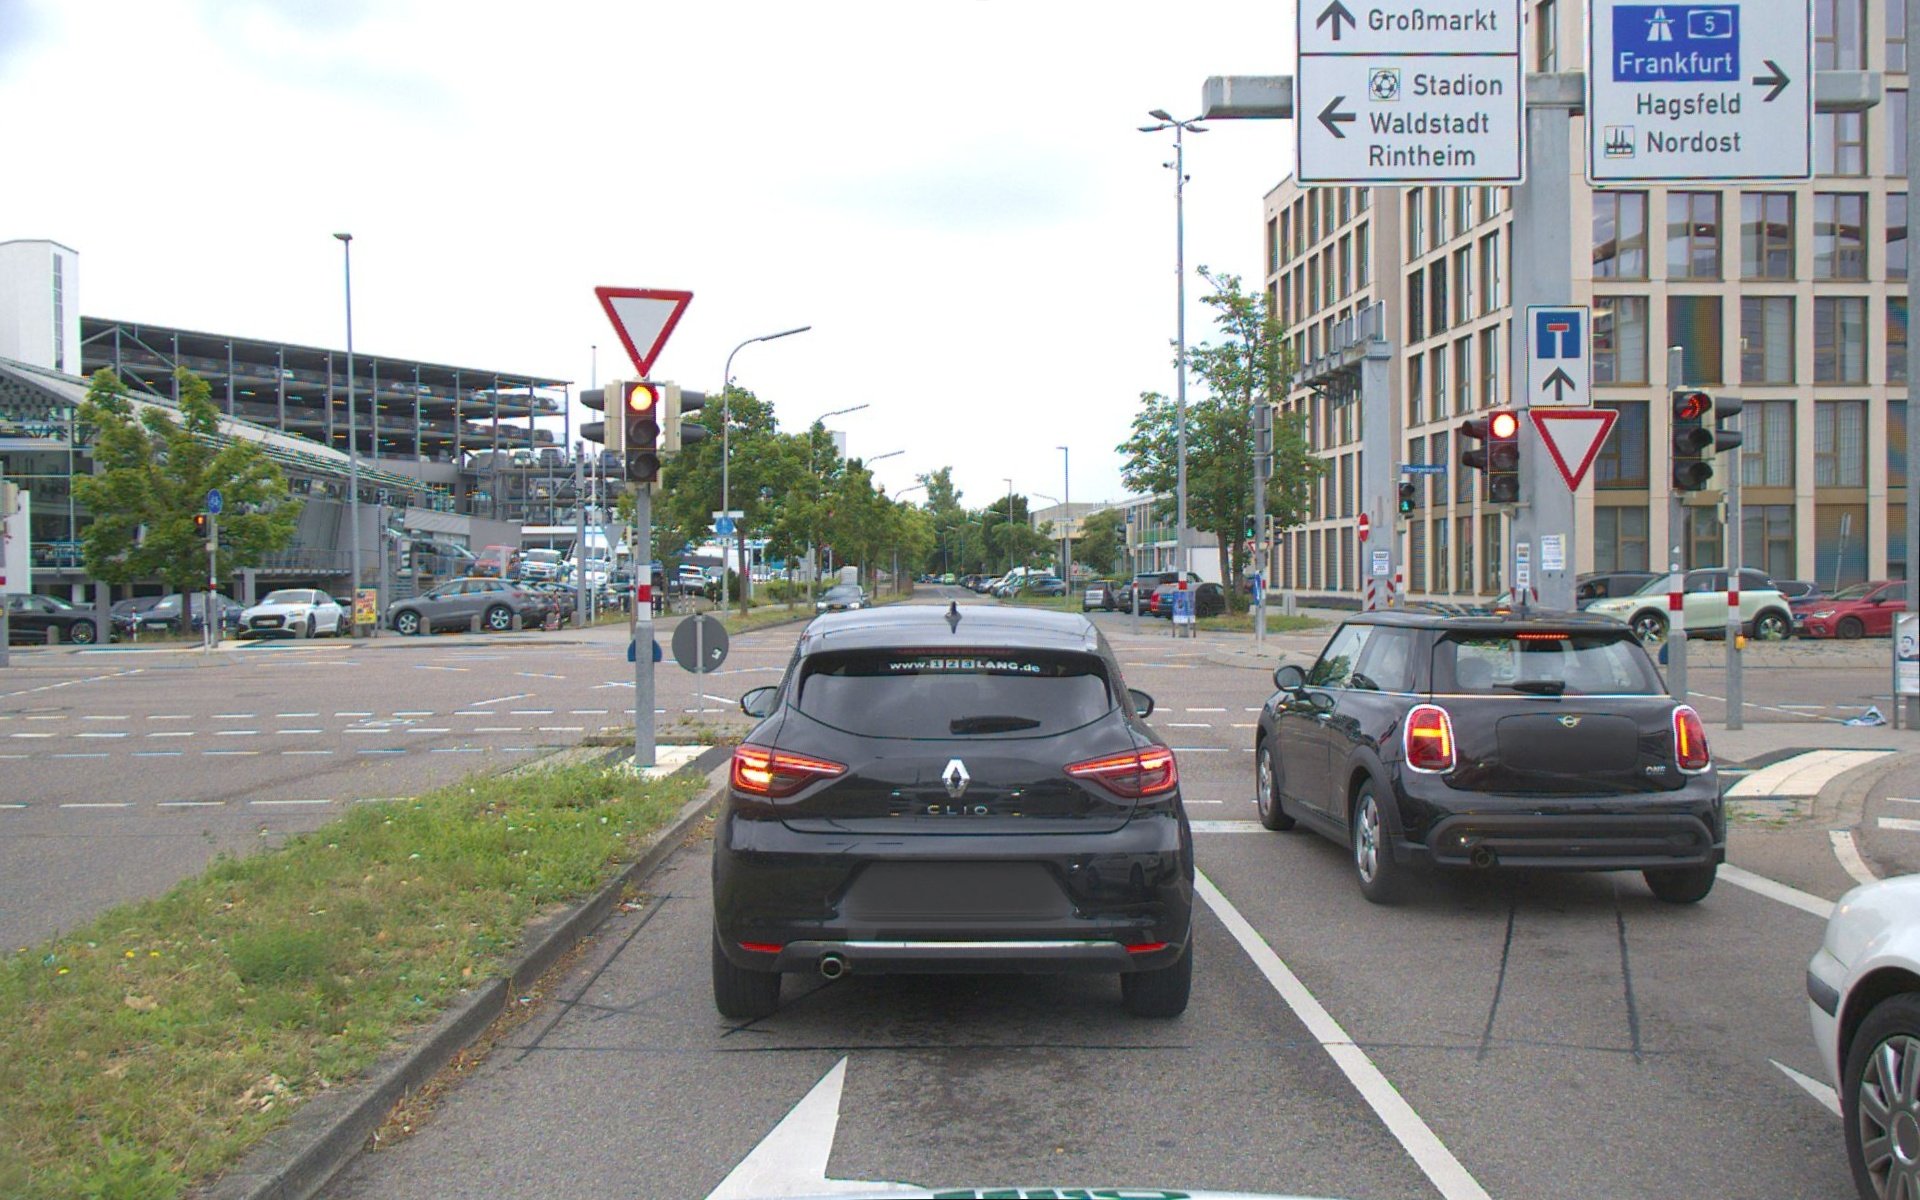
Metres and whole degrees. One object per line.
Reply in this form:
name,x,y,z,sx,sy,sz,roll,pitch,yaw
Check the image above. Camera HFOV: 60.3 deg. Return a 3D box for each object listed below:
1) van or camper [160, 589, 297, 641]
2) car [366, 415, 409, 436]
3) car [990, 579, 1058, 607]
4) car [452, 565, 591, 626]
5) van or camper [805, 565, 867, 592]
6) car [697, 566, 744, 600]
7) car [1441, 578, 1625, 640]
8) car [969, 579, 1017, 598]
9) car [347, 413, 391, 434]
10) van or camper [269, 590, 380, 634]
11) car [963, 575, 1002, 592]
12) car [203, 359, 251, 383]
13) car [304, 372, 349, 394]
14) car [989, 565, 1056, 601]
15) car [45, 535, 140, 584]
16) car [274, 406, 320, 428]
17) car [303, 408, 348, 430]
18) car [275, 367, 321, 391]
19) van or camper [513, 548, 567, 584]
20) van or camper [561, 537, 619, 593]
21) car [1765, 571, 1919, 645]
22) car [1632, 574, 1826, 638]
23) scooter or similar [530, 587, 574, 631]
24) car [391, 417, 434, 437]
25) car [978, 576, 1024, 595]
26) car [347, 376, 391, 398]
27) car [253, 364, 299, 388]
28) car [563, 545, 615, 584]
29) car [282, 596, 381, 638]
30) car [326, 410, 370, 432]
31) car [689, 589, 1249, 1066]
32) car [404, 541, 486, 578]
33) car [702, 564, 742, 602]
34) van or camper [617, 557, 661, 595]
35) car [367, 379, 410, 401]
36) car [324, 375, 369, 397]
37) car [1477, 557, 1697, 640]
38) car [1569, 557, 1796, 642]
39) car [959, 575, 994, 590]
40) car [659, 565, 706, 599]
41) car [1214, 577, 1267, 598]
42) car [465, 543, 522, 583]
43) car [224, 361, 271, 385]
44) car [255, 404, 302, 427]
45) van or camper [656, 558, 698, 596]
van or camper,-25.598,0.516,58.001,3.909,1.707,1.998,1,0,-5
car,-55.969,-17.088,161.752,3.914,1.696,1.996,1,1,31
car,4.992,-0.528,129.038,5.070,2.049,2.142,1,0,-3
car,-16.221,-0.174,61.406,4.683,2.049,1.997,-2,0,-7
van or camper,-11.356,-1.954,151.769,5.486,2.413,1.999,1,0,-2
car,-12.158,-0.853,84.292,1.954,1.646,3.998,1,0,-3
car,14.326,0.232,41.463,4.005,1.457,1.749,1,0,-5
car,3.622,-1.253,182.217,5.069,2.049,2.143,1,0,-2
car,-57.104,-17.088,159.882,3.914,1.696,1.996,1,1,31
van or camper,-26.408,0.480,68.838,3.909,1.741,1.845,1,0,-5
car,3.019,-2.194,218.837,5.069,2.049,2.143,1,0,-2
car,-64.958,-20.267,146.592,3.914,1.696,1.996,1,1,31
car,-59.607,-20.417,155.627,3.914,1.696,1.996,1,1,31
car,5.720,-1.521,151.662,5.993,3.171,2.133,1,0,-2
car,-32.743,-1.493,62.538,1.784,1.691,3.995,1,0,-5
car,-61.439,-16.948,153.265,3.914,1.696,1.996,1,1,31
car,-59.659,-17.028,155.522,3.914,1.696,1.996,1,1,31
car,-61.234,-20.434,152.961,3.914,1.696,1.996,1,1,31
van or camper,-21.036,-1.696,82.993,1.954,1.680,3.996,1,0,-4
van or camper,-21.084,-1.951,94.353,2.486,3.079,4.839,1,0,-4
car,21.257,0.201,38.688,3.908,1.629,1.998,1,0,-4
car,19.384,0.161,41.772,4.055,1.517,1.870,1,0,-5
scooter or similar,-11.864,0.258,48.105,0.545,1.240,1.561,2,1,13
car,-54.407,-17.186,164.344,3.914,1.696,1.996,1,1,31
car,4.372,-1.572,175.632,4.690,1.924,2.142,1,0,-3
car,-57.148,-20.545,159.979,3.914,1.696,1.996,1,1,31
car,-62.471,-20.463,151.074,3.914,1.696,1.996,1,1,31
car,-18.619,-1.761,83.156,1.954,1.855,3.996,1,0,-4
car,-29.130,0.790,76.772,3.911,1.870,1.757,1,0,-7
car,-58.365,-17.063,157.667,3.914,1.696,1.996,1,1,31
car,0.005,0.718,7.147,1.721,1.460,3.999,1,0,-1
car,-27.929,-2.173,89.767,3.908,1.870,1.759,1,0,-4
car,-13.612,-0.951,94.853,1.954,2.049,3.996,1,0,-4
van or camper,-18.296,-1.348,94.384,1.954,2.049,3.996,1,0,-4
car,-55.905,-20.508,161.821,3.914,1.696,1.996,1,1,31
car,-58.491,-20.390,157.656,3.914,1.696,1.996,1,1,31
car,14.423,-0.025,38.181,4.321,1.800,1.998,1,0,-5
car,15.212,-0.006,34.933,3.977,1.672,1.903,1,0,-6
car,2.247,-2.473,229.912,4.690,1.924,2.142,1,0,-3
car,-13.901,-0.890,83.096,1.954,1.646,3.996,1,0,-4
car,18.883,-0.821,111.285,3.182,1.356,1.477,1,0,-20
car,-23.441,-1.855,83.196,1.954,1.881,3.996,1,0,-4
car,-64.023,-20.396,148.656,3.914,1.696,1.996,1,1,31
car,-62.298,-16.835,151.171,3.914,1.696,1.996,1,1,31
van or camper,-16.143,-1.310,94.608,1.954,2.049,3.996,1,0,-4
